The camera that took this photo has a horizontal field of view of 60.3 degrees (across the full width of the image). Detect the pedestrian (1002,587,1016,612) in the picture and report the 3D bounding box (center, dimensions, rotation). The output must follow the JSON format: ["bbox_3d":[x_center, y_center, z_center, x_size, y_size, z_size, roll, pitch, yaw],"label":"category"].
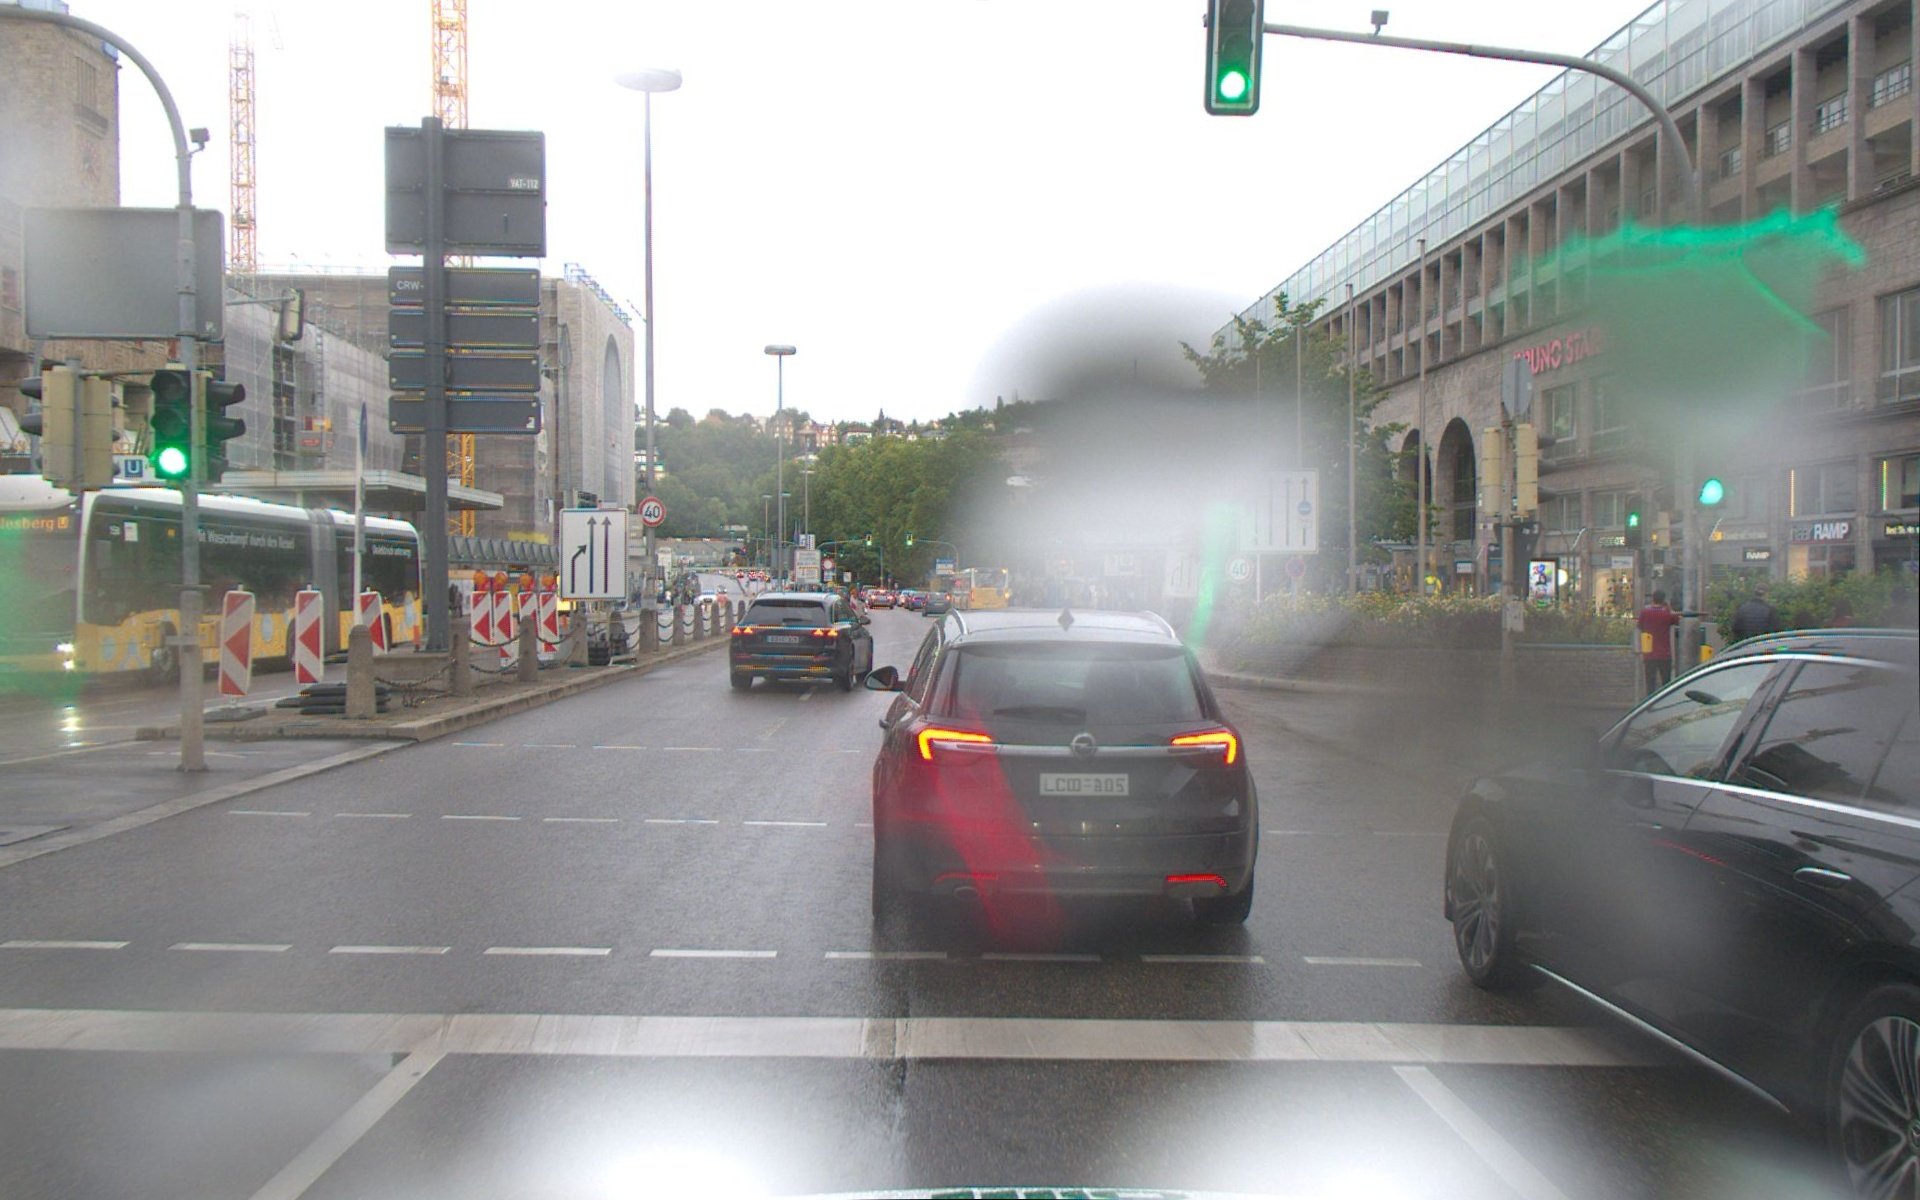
[{"bbox_3d":[4.382,-0.075,146.973,1.174,2.186,1.228,1,-1,0],"label":"pedestrian"}]

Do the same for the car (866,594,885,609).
[{"bbox_3d":[-8.156,0.137,159.725,1.723,1.422,3.563,1,-1,-1],"label":"car"}]

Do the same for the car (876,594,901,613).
[{"bbox_3d":[-5.487,0.282,127.288,1.808,1.422,3.563,1,-1,-1],"label":"car"}]

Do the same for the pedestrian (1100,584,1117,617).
[{"bbox_3d":[8.010,0.026,89.359,0.748,1.720,0.824,1,-1,-5],"label":"pedestrian"}]

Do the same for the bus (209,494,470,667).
[{"bbox_3d":[-14.869,-0.364,40.715,2.614,3.665,10.209,1,-1,-1],"label":"bus"}]

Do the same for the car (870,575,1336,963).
[{"bbox_3d":[0.533,0.697,8.609,1.837,1.512,3.999,1,-1,-1],"label":"car"}]

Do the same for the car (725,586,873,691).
[{"bbox_3d":[-2.476,0.591,26.489,1.817,1.495,4.587,1,-1,1],"label":"car"}]

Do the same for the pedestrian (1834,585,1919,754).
[{"bbox_3d":[10.199,0.732,17.906,1.074,1.782,0.653,-2,-1,-4],"label":"pedestrian"}]

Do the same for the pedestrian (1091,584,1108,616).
[{"bbox_3d":[7.632,0.028,90.417,0.748,1.720,0.824,1,-1,-5],"label":"pedestrian"}]

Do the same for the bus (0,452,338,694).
[{"bbox_3d":[-14.659,-0.374,30.384,2.614,3.665,10.236,1,-1,-1],"label":"bus"}]

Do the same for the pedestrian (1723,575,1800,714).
[{"bbox_3d":[10.301,0.573,21.267,0.740,1.748,0.466,1,-1,-5],"label":"pedestrian"}]

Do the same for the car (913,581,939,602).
[{"bbox_3d":[-2.523,-0.589,121.756,1.718,1.422,4.645,1,-1,-3],"label":"car"}]

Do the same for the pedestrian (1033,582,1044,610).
[{"bbox_3d":[4.967,-0.255,104.872,0.644,1.720,0.609,1,-1,0],"label":"pedestrian"}]

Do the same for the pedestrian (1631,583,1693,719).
[{"bbox_3d":[9.410,0.677,22.163,0.560,1.783,0.676,1,-1,42],"label":"pedestrian"}]

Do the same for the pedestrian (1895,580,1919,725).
[{"bbox_3d":[11.993,0.642,20.644,0.472,1.782,0.665,-2,-1,27],"label":"pedestrian"}]

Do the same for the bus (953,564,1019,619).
[{"bbox_3d":[1.704,-0.465,115.726,4.089,3.530,14.650,1,-1,-1],"label":"bus"}]

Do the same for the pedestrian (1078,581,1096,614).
[{"bbox_3d":[6.720,-0.136,87.532,0.748,1.720,0.824,1,-1,-5],"label":"pedestrian"}]

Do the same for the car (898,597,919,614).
[{"bbox_3d":[-4.528,0.457,146.287,1.808,1.422,3.563,1,0,-1],"label":"car"}]

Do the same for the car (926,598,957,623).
[{"bbox_3d":[-1.104,0.635,99.148,1.808,1.422,3.666,1,-1,-1],"label":"car"}]

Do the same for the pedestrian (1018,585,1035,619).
[{"bbox_3d":[4.944,0.130,123.083,1.174,2.478,1.228,1,-1,0],"label":"pedestrian"}]

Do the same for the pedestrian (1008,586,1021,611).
[{"bbox_3d":[5.013,-0.146,151.767,1.174,2.186,1.228,1,-1,0],"label":"pedestrian"}]

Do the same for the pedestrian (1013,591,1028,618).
[{"bbox_3d":[4.970,0.415,136.510,1.174,2.186,1.228,1,-1,0],"label":"pedestrian"}]

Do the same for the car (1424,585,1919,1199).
[{"bbox_3d":[2.986,0.763,4.893,1.757,1.528,4.626,1,-1,-2],"label":"car"}]
